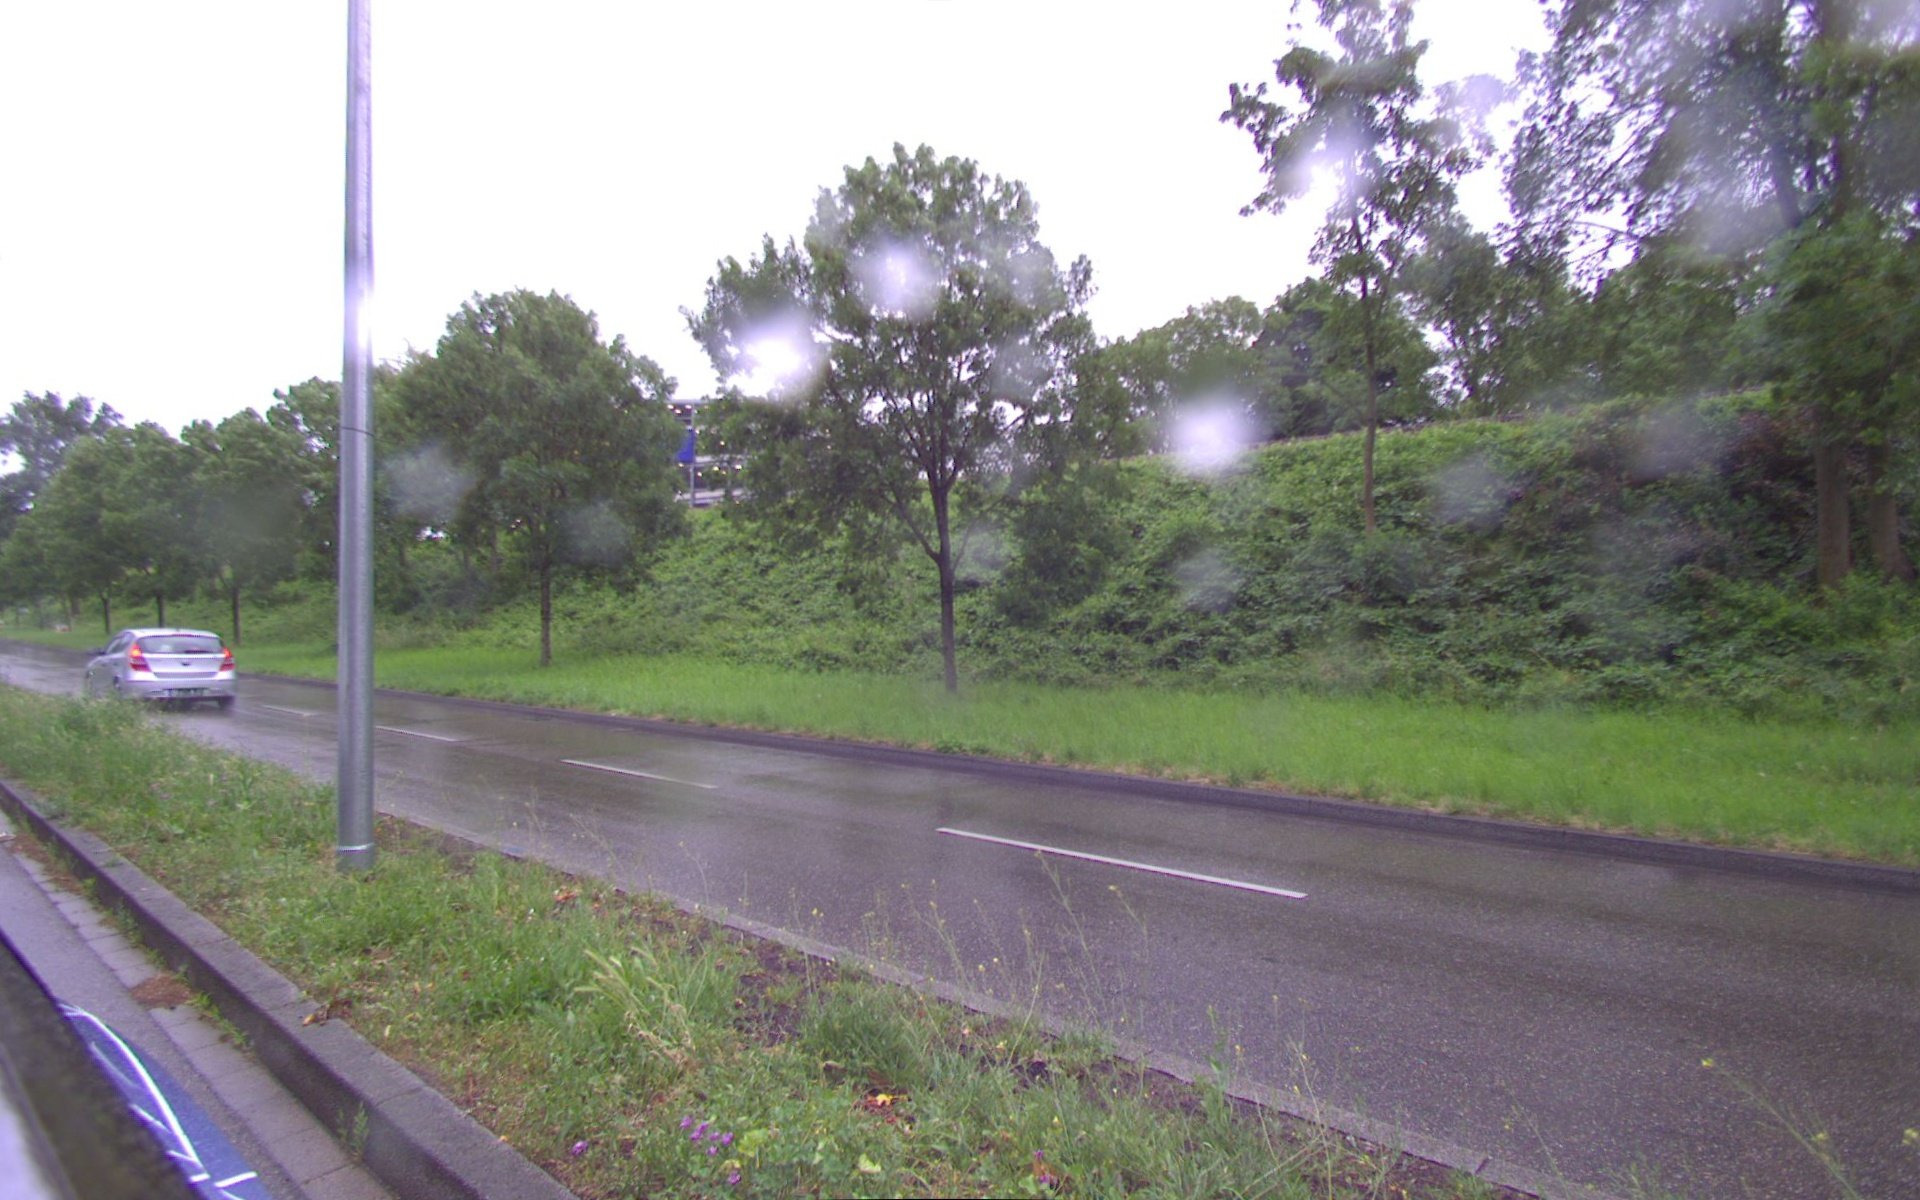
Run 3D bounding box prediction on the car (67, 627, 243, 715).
[{"bbox_3d":[-15.202,1.287,19.041,3.997,1.474,1.797,-1,-4,40],"label":"car"}]
